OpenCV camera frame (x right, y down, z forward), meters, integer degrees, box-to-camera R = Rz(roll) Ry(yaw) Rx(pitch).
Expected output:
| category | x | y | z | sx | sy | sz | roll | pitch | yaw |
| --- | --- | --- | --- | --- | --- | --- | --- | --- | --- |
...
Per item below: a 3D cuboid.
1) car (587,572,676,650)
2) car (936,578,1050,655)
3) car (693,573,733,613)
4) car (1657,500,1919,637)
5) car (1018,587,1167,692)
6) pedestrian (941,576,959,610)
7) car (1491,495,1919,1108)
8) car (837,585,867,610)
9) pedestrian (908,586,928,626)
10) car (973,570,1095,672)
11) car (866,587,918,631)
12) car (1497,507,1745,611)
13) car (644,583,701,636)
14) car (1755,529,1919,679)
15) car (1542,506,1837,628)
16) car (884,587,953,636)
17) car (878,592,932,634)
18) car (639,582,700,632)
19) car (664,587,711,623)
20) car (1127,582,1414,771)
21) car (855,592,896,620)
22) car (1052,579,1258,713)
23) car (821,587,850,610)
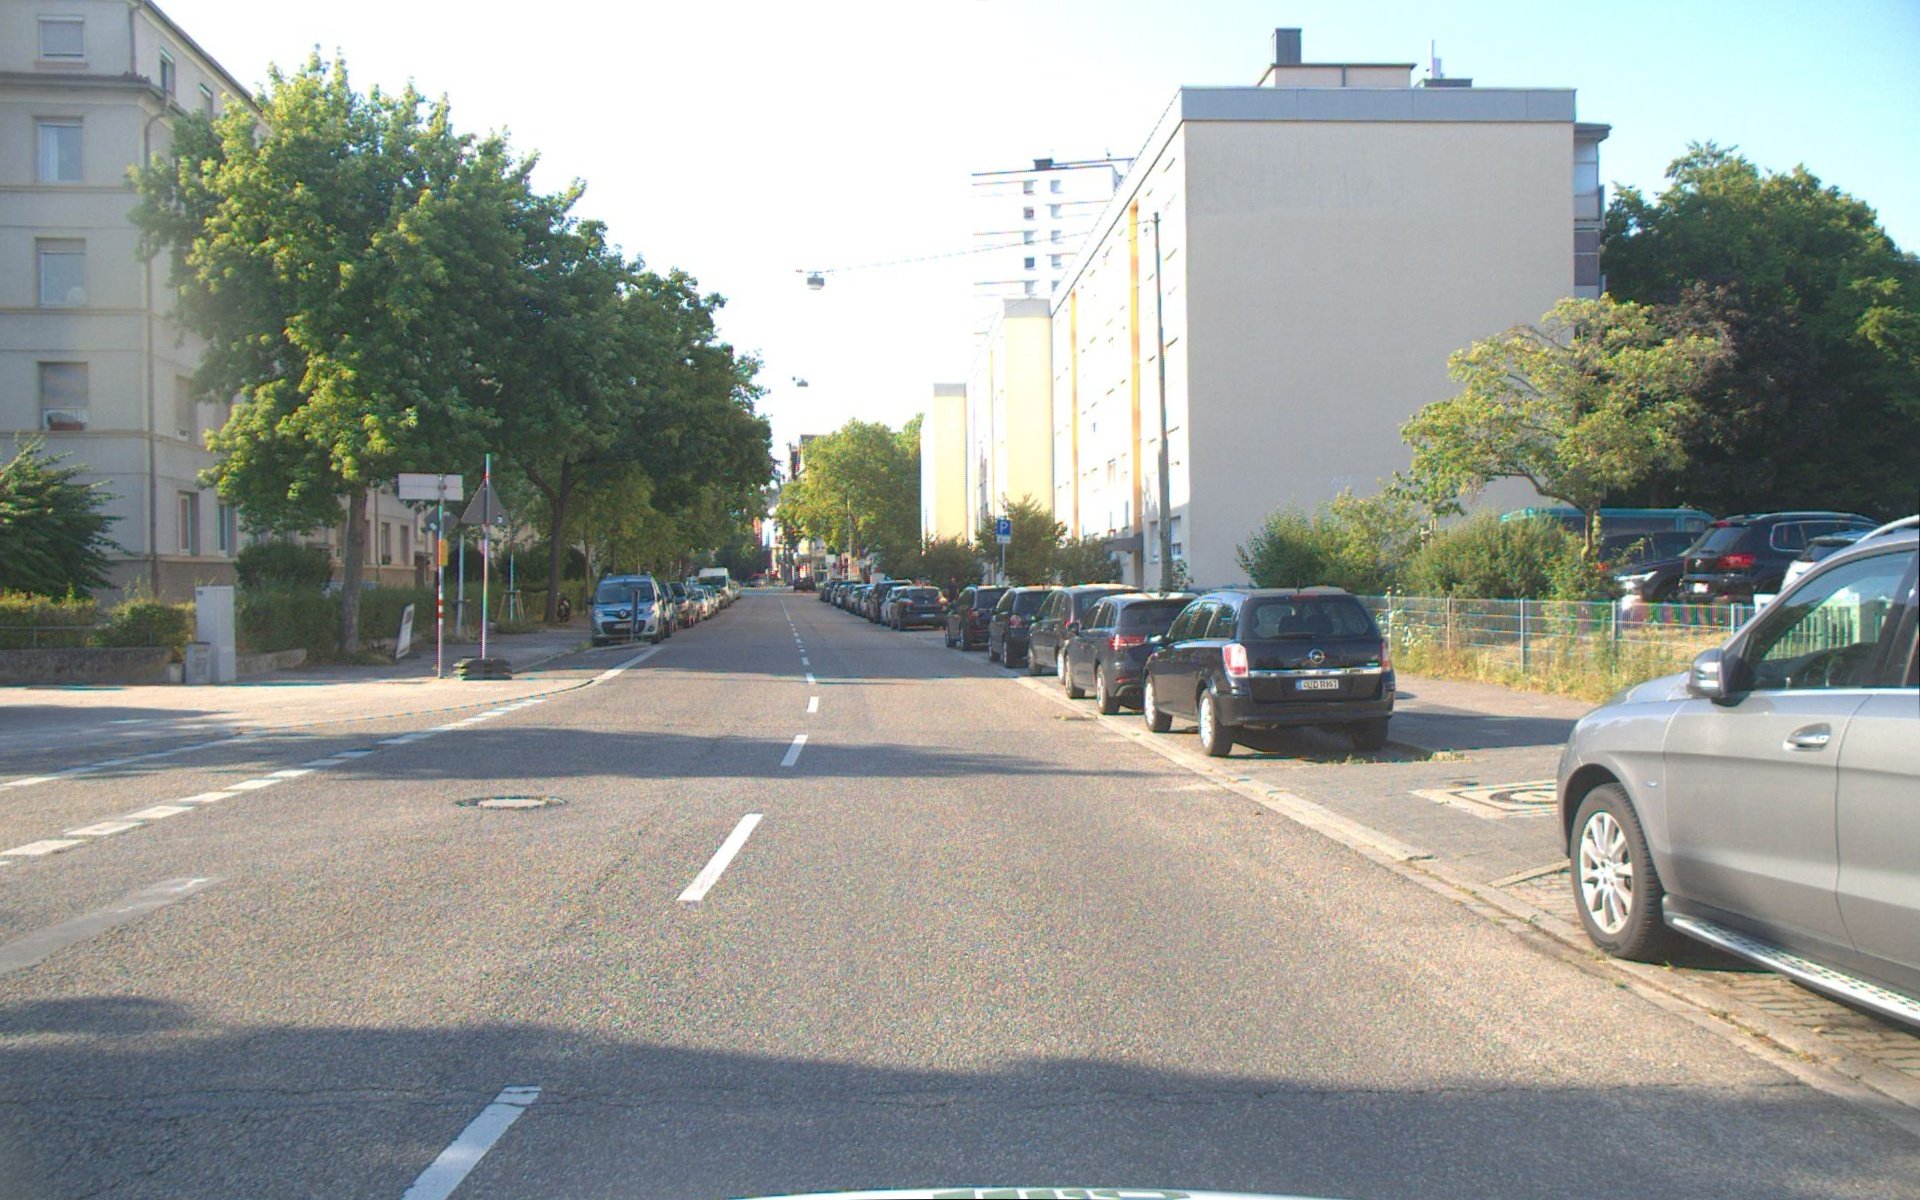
| category | x | y | z | sx | sy | sz | roll | pitch | yaw |
| --- | --- | --- | --- | --- | --- | --- | --- | --- | --- |
| car | -8.709 | 0.312 | 44.153 | 1.805 | 1.929 | 4.481 | 2 | -1 | -5 |
| car | 0.704 | 0.380 | 39.554 | 1.851 | 1.588 | 4.937 | -4 | 0 | -8 |
| car | -16.035 | -0.391 | 107.725 | 2.313 | 2.488 | 6.156 | 1 | -1 | -6 |
| car | 12.409 | -0.402 | 23.815 | 3.910 | 1.825 | 1.997 | 1 | -1 | -6 |
| car | 2.096 | 0.581 | 27.167 | 1.619 | 1.461 | 3.953 | -1 | 2 | -8 |
| pedestrian | -0.511 | -0.356 | 84.183 | 0.751 | 1.687 | 0.535 | -3 | 0 | -7 |
| car | 3.685 | 0.539 | 5.523 | 1.884 | 1.810 | 4.806 | -4 | 0 | -4 |
| car | -7.003 | -0.151 | 106.700 | 1.801 | 1.528 | 4.167 | 1 | -1 | -5 |
| pedestrian | -2.095 | 0.297 | 81.939 | 0.871 | 1.923 | 1.277 | 1 | -1 | -7 |
| car | 1.363 | 0.406 | 32.304 | 1.864 | 1.810 | 4.578 | 1 | -1 | -4 |
| car | -2.836 | 0.391 | 68.166 | 1.738 | 1.707 | 4.639 | 1 | -1 | -7 |
| car | 12.510 | -0.740 | 31.445 | 3.910 | 1.825 | 1.997 | 1 | -1 | -6 |
| car | -10.242 | 0.360 | 59.249 | 1.838 | 1.790 | 4.680 | 1 | -1 | -8 |
| car | 12.743 | 0.088 | 21.487 | 3.910 | 1.825 | 1.997 | 1 | -1 | -6 |
| car | 11.761 | -0.498 | 26.822 | 3.909 | 1.825 | 1.998 | 1 | -1 | -5 |
| car | -1.484 | 0.403 | 57.104 | 1.765 | 1.533 | 4.612 | 3 | -1 | -8 |
| car | -2.127 | 0.490 | 62.979 | 1.738 | 1.534 | 3.994 | -1 | 0 | -7 |
| car | -9.606 | 0.241 | 54.988 | 1.838 | 1.579 | 3.992 | 1 | -1 | -8 |
| car | -12.432 | 0.234 | 75.685 | 1.967 | 1.579 | 4.463 | 1 | -1 | -8 |
| car | 2.921 | 0.676 | 16.551 | 1.707 | 1.567 | 4.436 | -2 | 0 | -4 |
| car | -4.622 | 0.345 | 90.315 | 1.838 | 1.468 | 3.992 | 1 | -1 | -8 |
| car | 2.471 | 0.573 | 22.130 | 1.864 | 1.556 | 4.806 | 1 | -1 | -4 |
| car | -9.782 | -0.142 | 129.686 | 1.862 | 1.680 | 4.335 | 4 | 0 | -8 |
